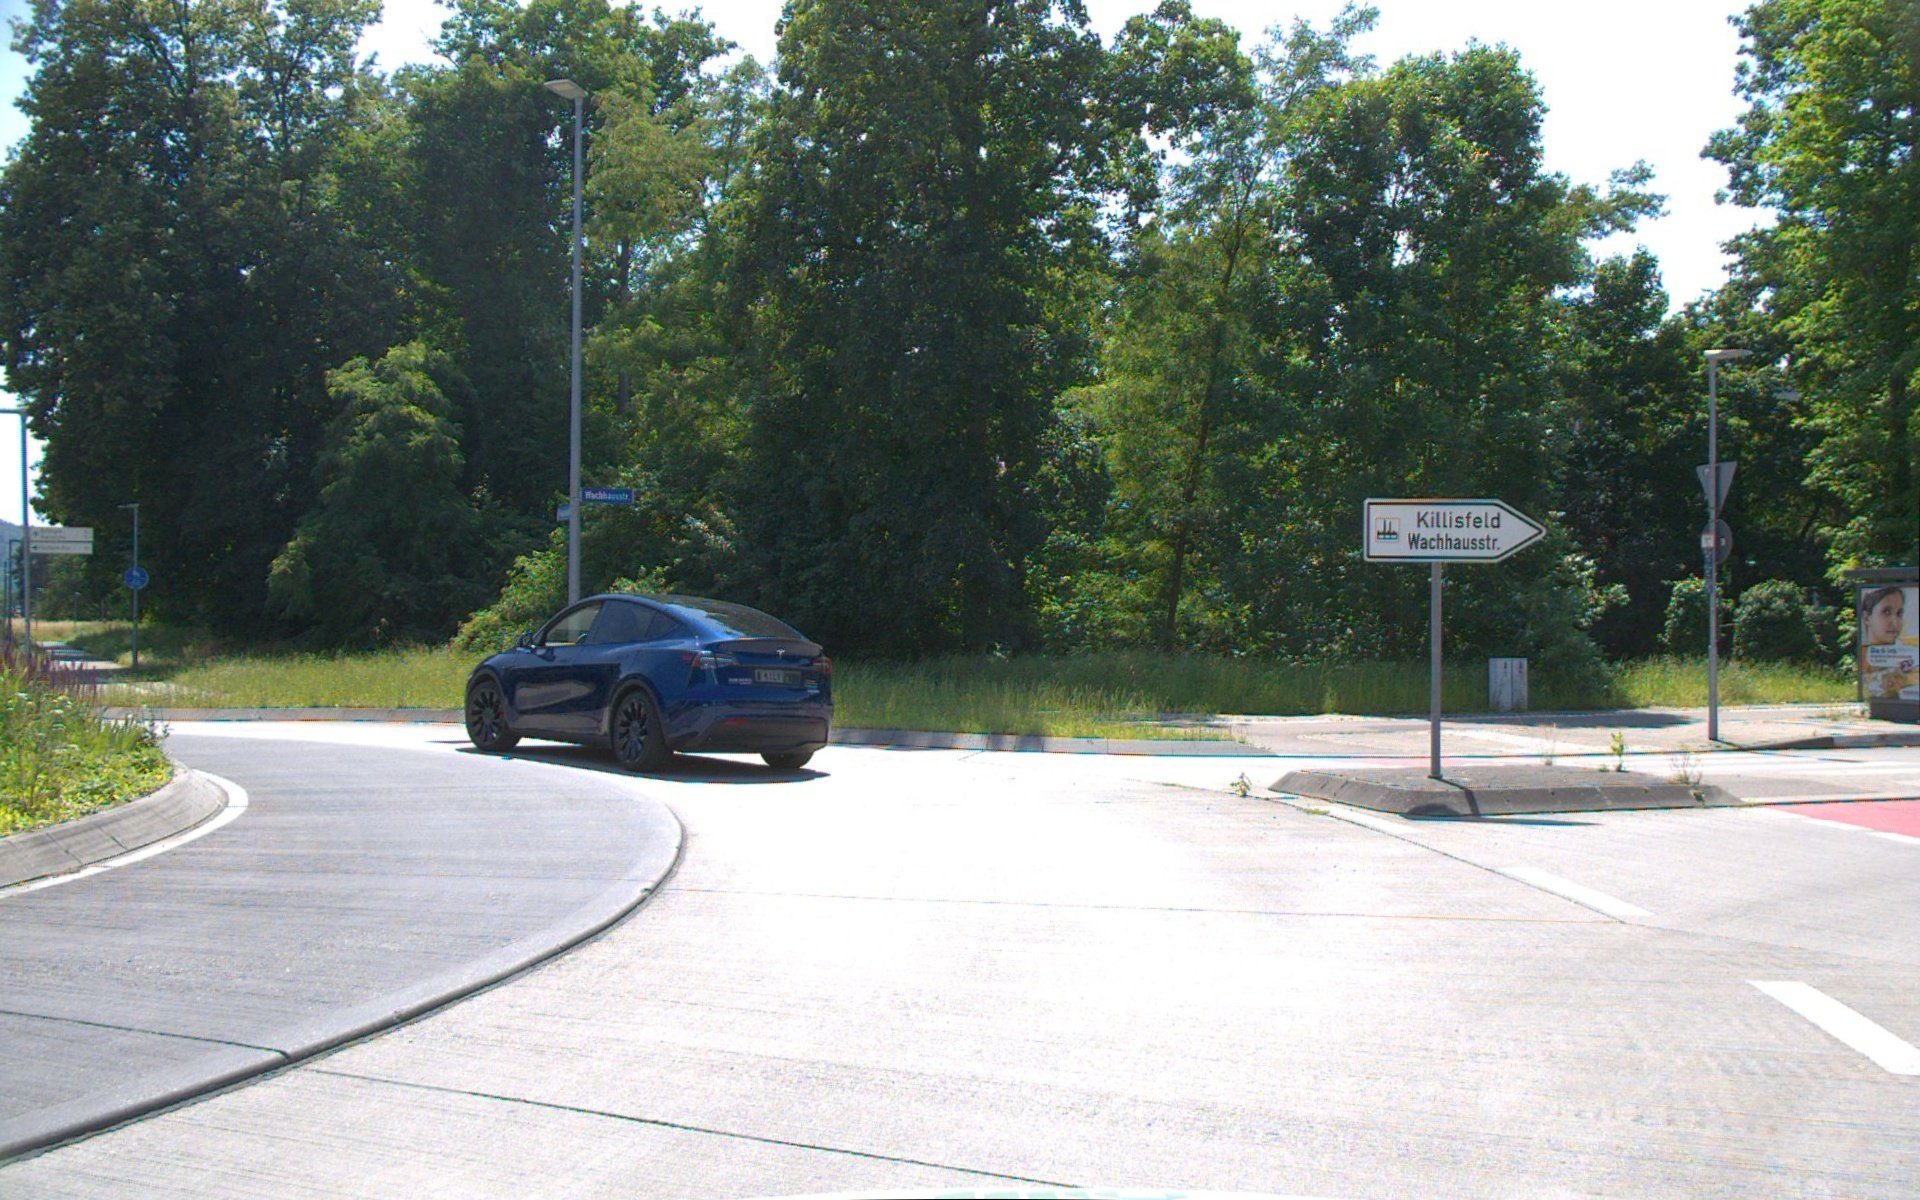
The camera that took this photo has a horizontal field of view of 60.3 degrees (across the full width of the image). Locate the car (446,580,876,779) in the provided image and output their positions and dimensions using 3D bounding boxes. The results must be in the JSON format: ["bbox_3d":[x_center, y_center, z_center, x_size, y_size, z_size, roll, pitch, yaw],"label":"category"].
[{"bbox_3d":[-3.072,0.688,16.269,1.984,1.668,4.682,1,-1,-43],"label":"car"}]
